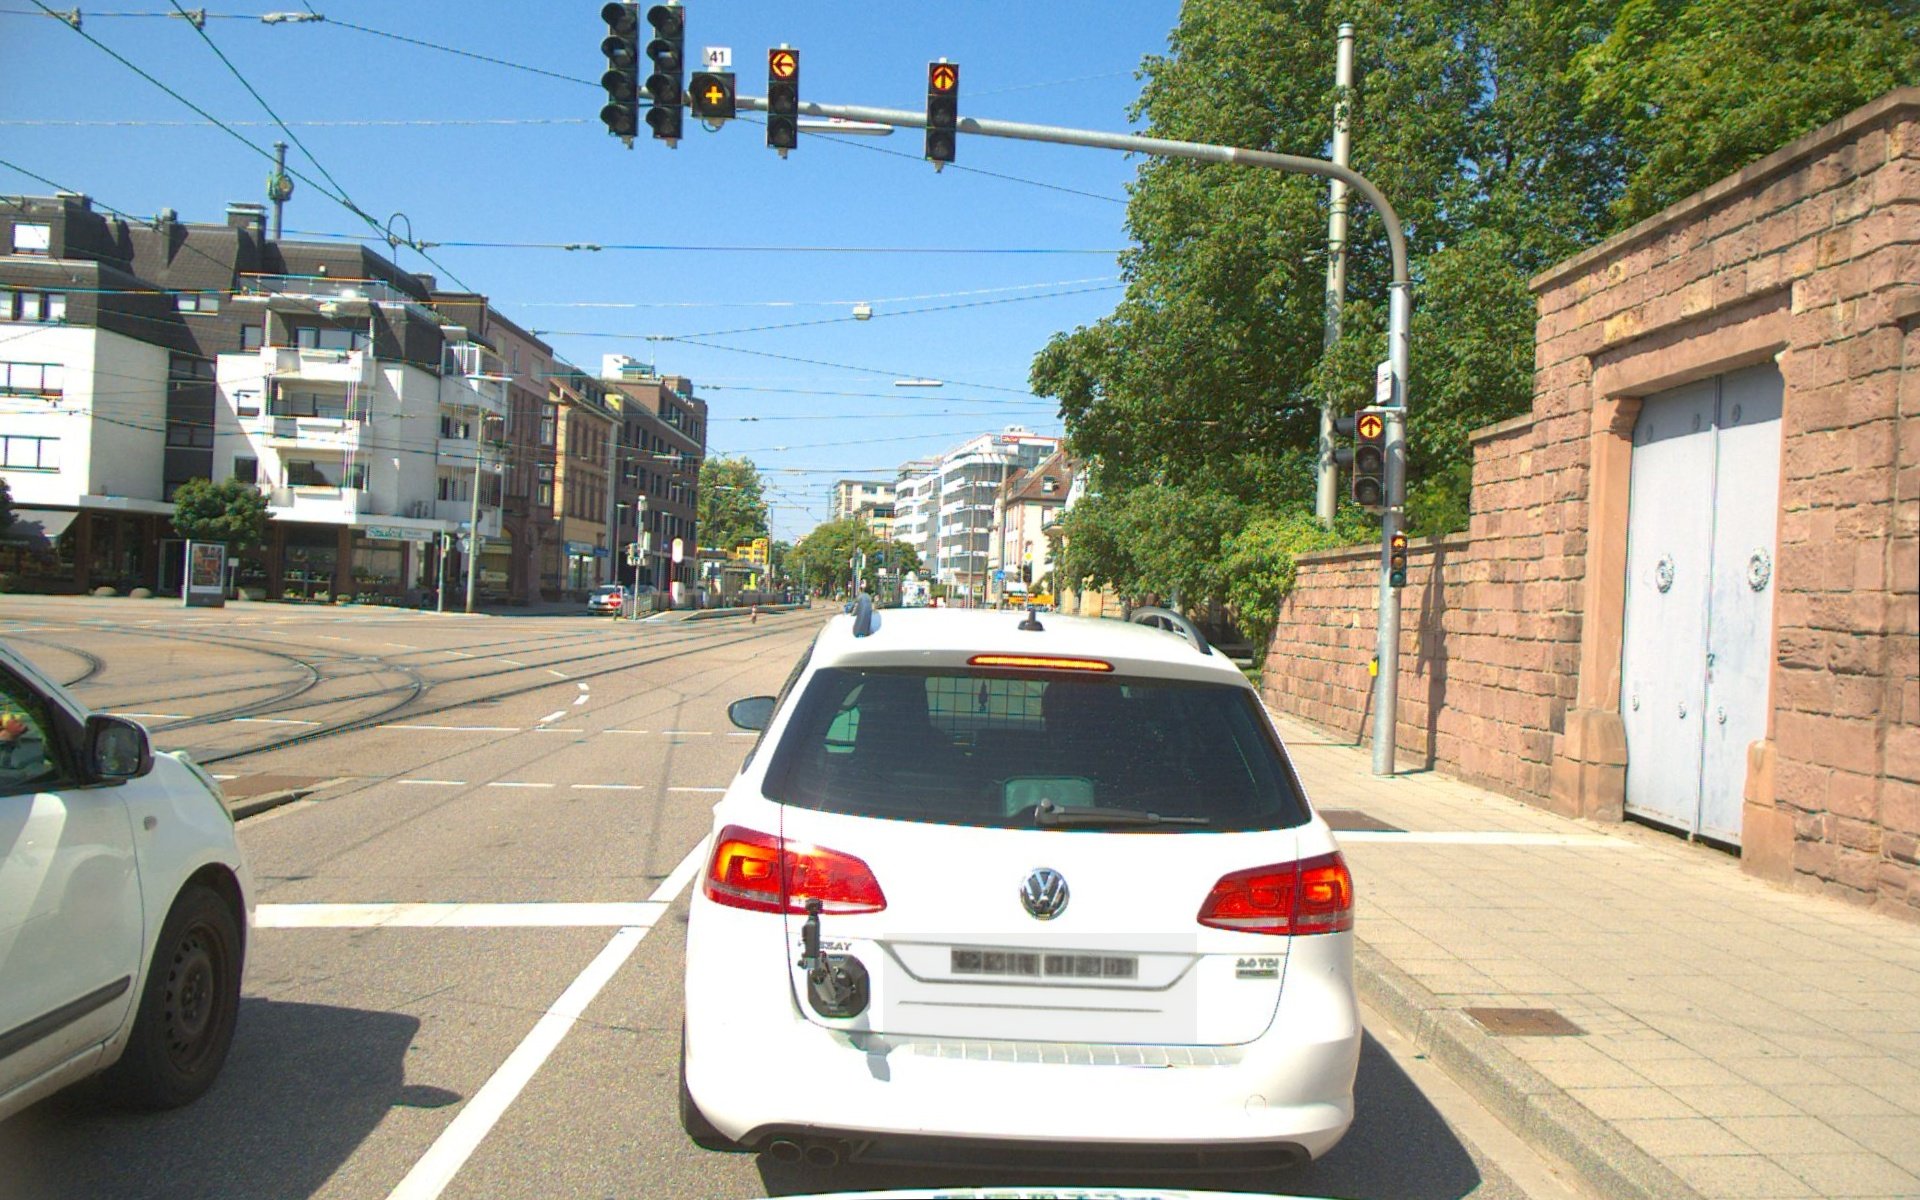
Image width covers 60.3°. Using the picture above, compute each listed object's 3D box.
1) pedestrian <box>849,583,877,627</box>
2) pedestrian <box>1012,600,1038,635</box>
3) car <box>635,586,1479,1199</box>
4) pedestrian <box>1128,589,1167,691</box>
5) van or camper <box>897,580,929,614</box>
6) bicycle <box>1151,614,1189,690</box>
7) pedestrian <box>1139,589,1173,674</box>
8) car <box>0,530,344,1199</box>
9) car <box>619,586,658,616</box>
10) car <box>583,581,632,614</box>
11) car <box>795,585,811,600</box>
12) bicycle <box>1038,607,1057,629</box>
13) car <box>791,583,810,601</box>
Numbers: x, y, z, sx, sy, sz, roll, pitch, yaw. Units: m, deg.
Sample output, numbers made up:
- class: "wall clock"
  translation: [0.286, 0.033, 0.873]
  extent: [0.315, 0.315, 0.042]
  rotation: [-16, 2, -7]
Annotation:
- class: "pedestrian"
  translation: [-4.220, 0.213, 72.113]
  extent: [0.821, 1.841, 0.822]
  rotation: [2, 0, -39]
- class: "pedestrian"
  translation: [2.940, 0.793, 74.524]
  extent: [0.841, 1.536, 0.779]
  rotation: [2, 0, 35]
- class: "car"
  translation: [0.179, 0.724, 5.370]
  extent: [1.717, 1.442, 3.852]
  rotation: [2, 0, -1]
- class: "pedestrian"
  translation: [2.925, 0.620, 25.818]
  extent: [0.529, 1.576, 0.663]
  rotation: [0, 0, -2]
- class: "van or camper"
  translation: [-4.741, -0.301, 165.889]
  extent: [2.886, 3.235, 6.608]
  rotation: [2, 0, -4]
- class: "bicycle"
  translation: [3.300, 0.800, 25.909]
  extent: [0.524, 1.131, 1.808]
  rotation: [1, -1, 8]
- class: "pedestrian"
  translation: [4.039, 0.645, 34.118]
  extent: [0.636, 1.711, 0.708]
  rotation: [2, 0, 5]
- class: "car"
  translation: [-2.895, 0.632, 3.439]
  extent: [1.730, 1.588, 4.066]
  rotation: [1, 0, -1]
- class: "car"
  translation: [-17.067, 0.038, 87.855]
  extent: [1.542, 1.484, 3.811]
  rotation: [2, 0, -4]
- class: "car"
  translation: [-17.032, -0.105, 80.102]
  extent: [1.593, 1.456, 3.961]
  rotation: [4, 0, -3]
- class: "car"
  translation: [-21.587, -1.032, 227.656]
  extent: [1.954, 2.049, 3.998]
  rotation: [1, 0, -3]
- class: "bicycle"
  translation: [4.788, 0.982, 90.361]
  extent: [0.710, 1.159, 2.196]
  rotation: [2, 0, 11]
- class: "car"
  translation: [-18.456, -0.897, 191.879]
  extent: [1.954, 2.049, 3.998]
  rotation: [1, 0, -3]
